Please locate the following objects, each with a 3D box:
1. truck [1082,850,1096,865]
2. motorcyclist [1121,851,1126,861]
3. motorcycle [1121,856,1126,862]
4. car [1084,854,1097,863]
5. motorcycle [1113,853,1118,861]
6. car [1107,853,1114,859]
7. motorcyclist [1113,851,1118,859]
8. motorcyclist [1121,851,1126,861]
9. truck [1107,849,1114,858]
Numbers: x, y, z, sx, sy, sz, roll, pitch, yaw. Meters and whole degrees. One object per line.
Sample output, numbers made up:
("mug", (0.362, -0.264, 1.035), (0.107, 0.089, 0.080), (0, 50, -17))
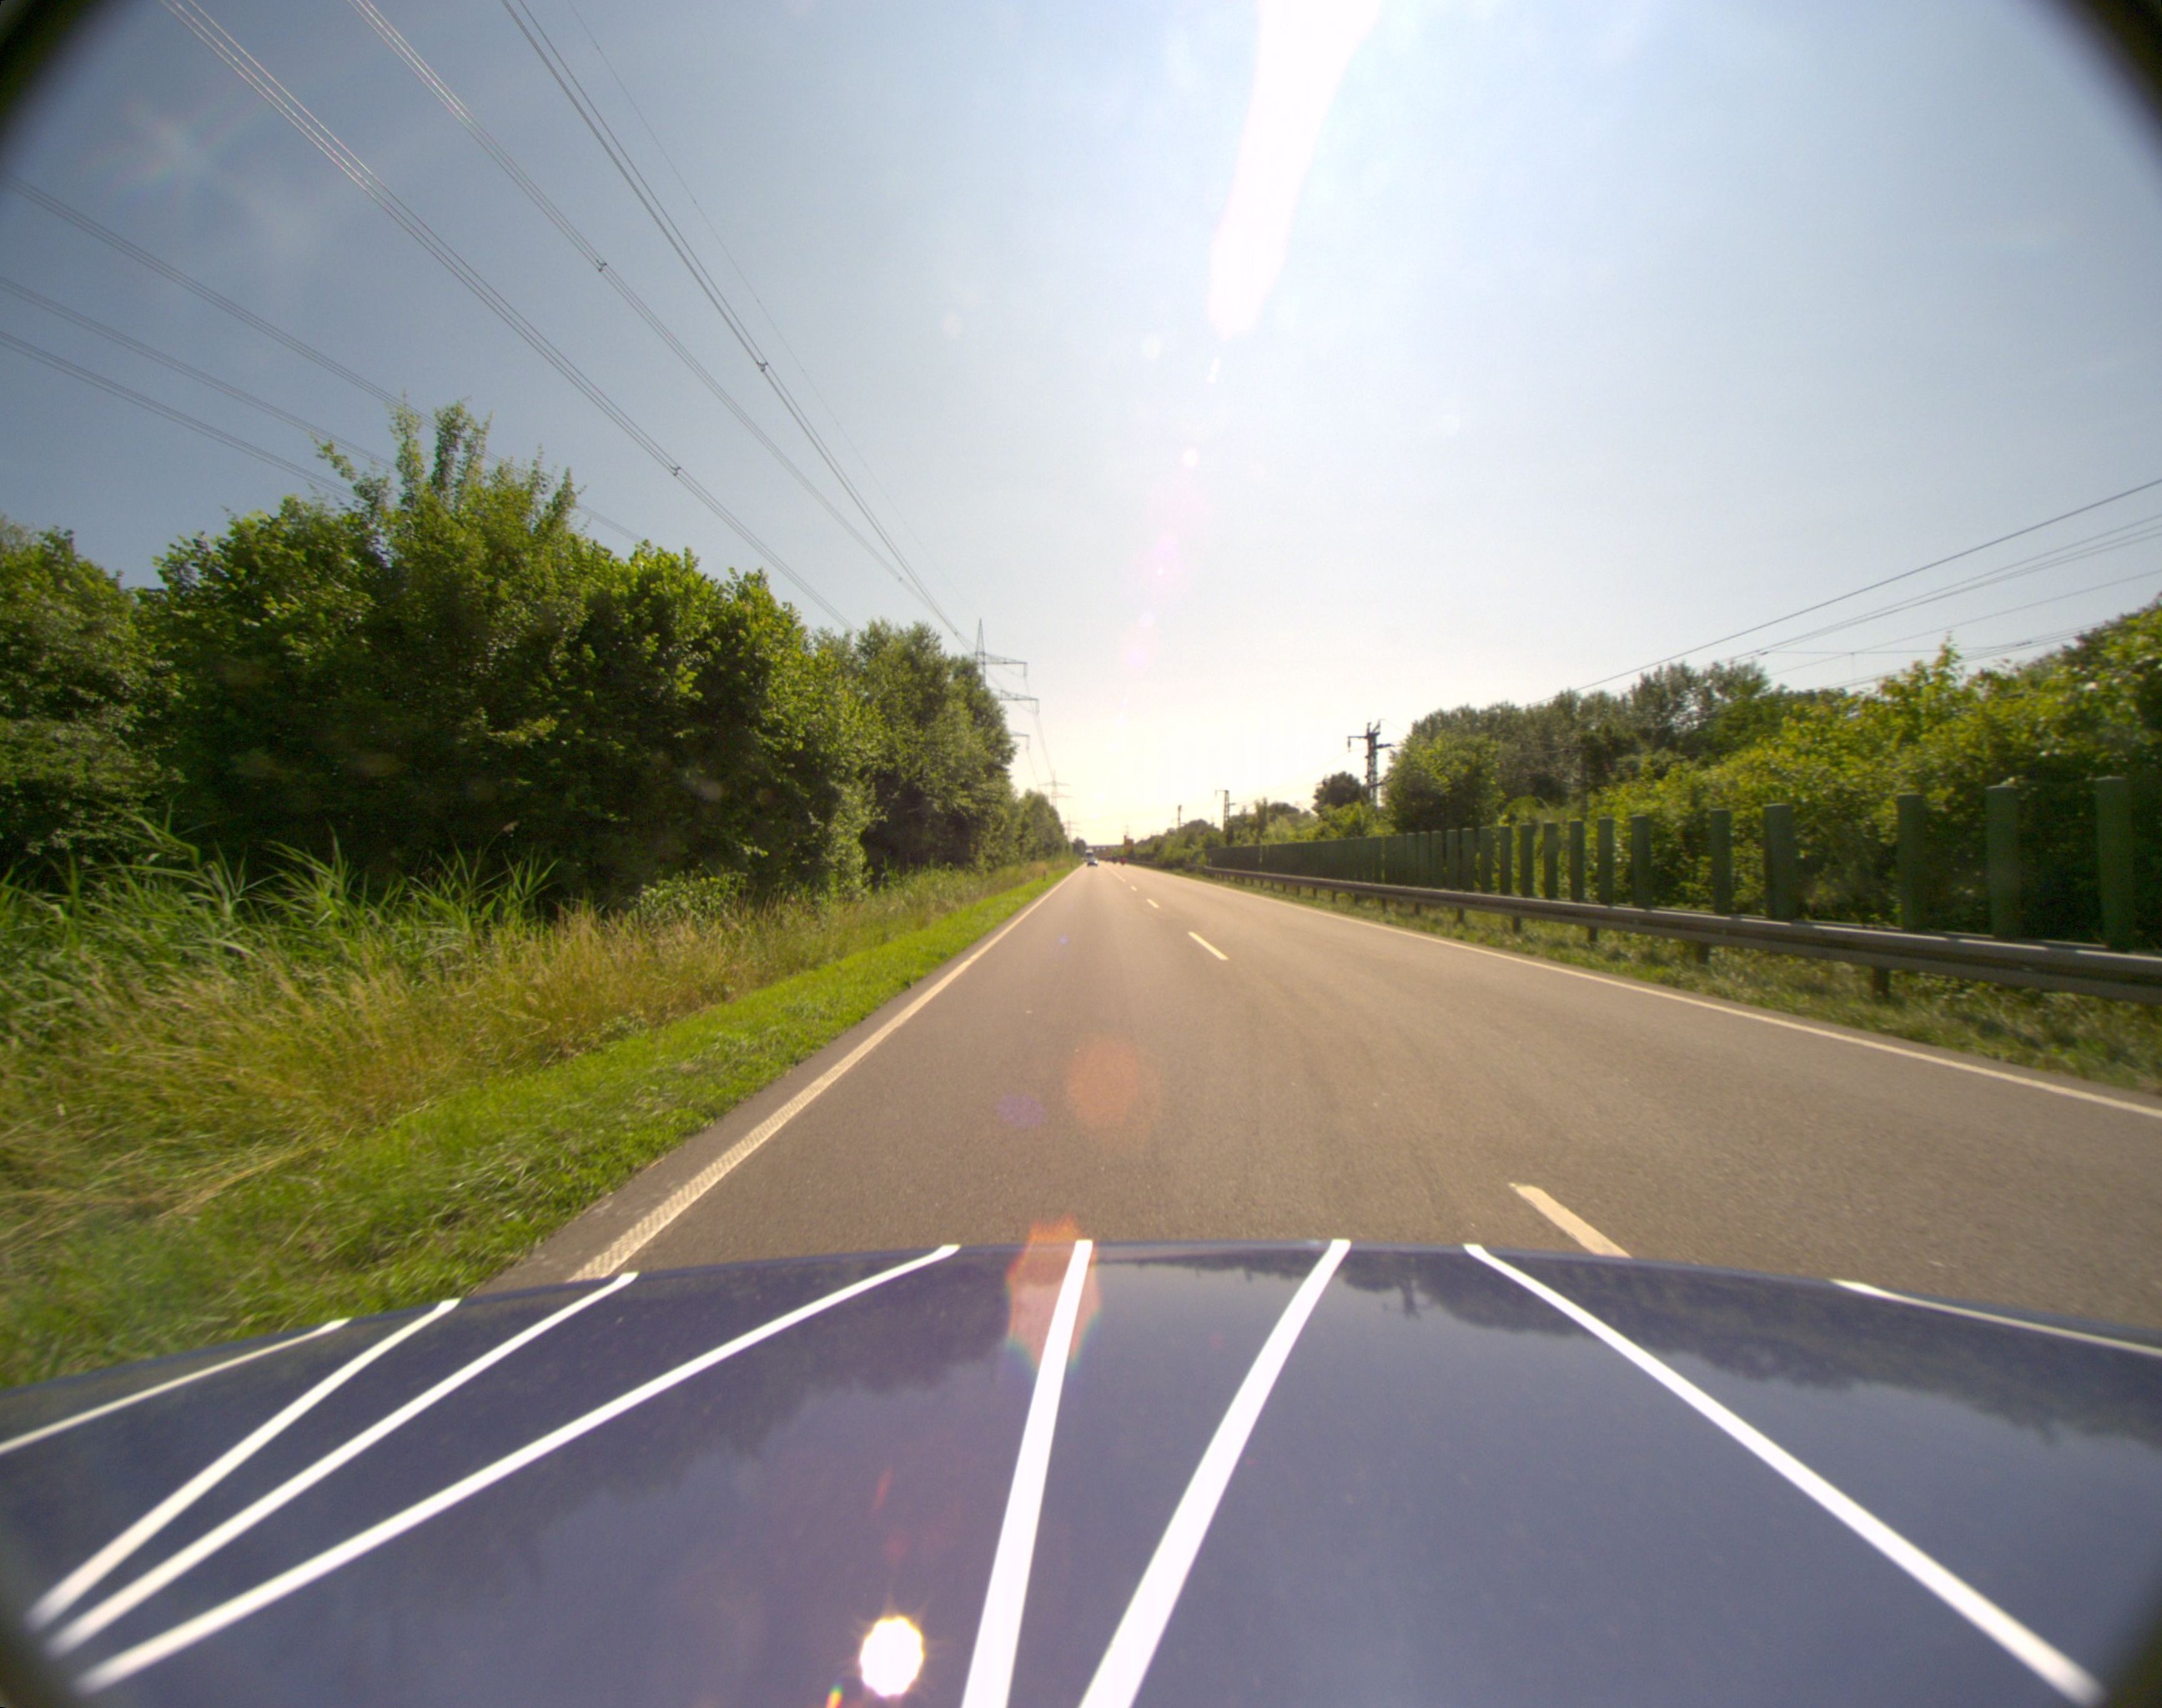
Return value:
("truck", (2.668, 1.239, 255.784), (4.219, 4.608, 21.303), (-2, 0, 0))
("motorcyclist", (6.952, 0.290, 125.165), (0.751, 1.574, 0.864), (-2, 1, 2))
("motorcycle", (7.060, 0.786, 126.090), (0.756, 1.008, 2.721), (-2, 1, 3))
("car", (1.475, 0.719, 119.315), (1.998, 1.346, 4.157), (-2, 0, 0))
("motorcycle", (6.765, 0.496, 147.890), (0.970, 1.487, 2.630), (-2, 1, 3))
("car", (8.102, 0.510, 210.283), (1.819, 1.684, 4.706), (-1, 0, 1))
("motorcyclist", (6.767, 0.151, 148.230), (0.961, 1.600, 1.003), (-2, 1, 2))
("motorcyclist", (6.991, 0.286, 126.112), (0.760, 1.574, 1.003), (-2, 1, 2))
("truck", (8.835, -0.191, 228.493), (2.085, 2.631, 5.704), (-1, 0, 1))
